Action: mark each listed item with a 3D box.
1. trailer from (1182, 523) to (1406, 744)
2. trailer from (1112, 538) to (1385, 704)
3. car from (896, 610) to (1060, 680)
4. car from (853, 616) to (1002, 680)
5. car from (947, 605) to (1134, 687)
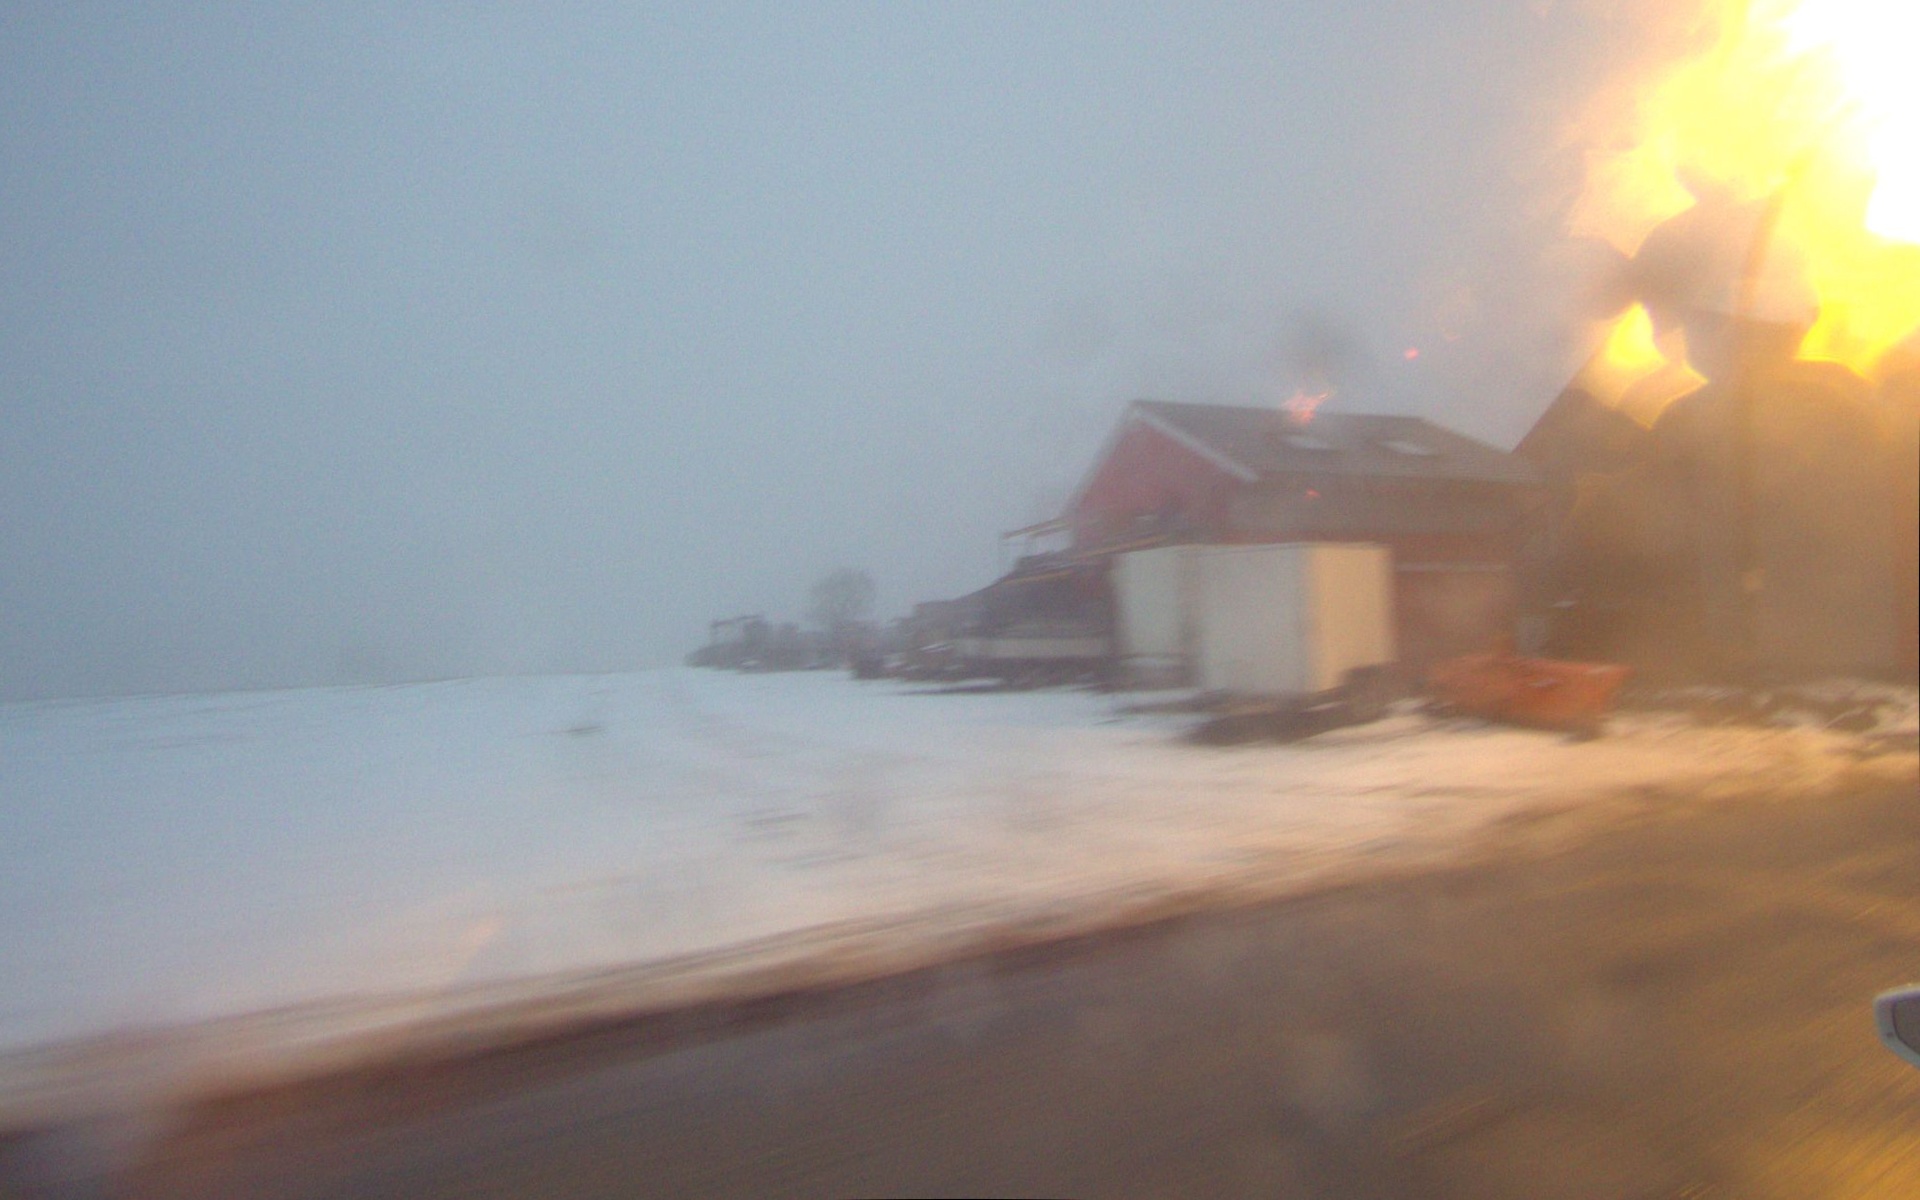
[{"bbox_3d":[4.704,0.470,13.891,1.670,2.639,3.428,-4,-3,40],"label":"trailer"},{"bbox_3d":[4.843,0.335,16.958,3.951,2.521,1.991,-1,-3,-22],"label":"trailer"},{"bbox_3d":[0.474,1.216,27.280,3.944,1.683,1.989,-1,-3,-24],"label":"car"},{"bbox_3d":[-0.973,1.412,29.869,3.943,1.683,1.990,-1,-3,-24],"label":"car"},{"bbox_3d":[1.904,1.082,24.011,3.939,1.739,1.992,-1,-3,-20],"label":"car"}]
